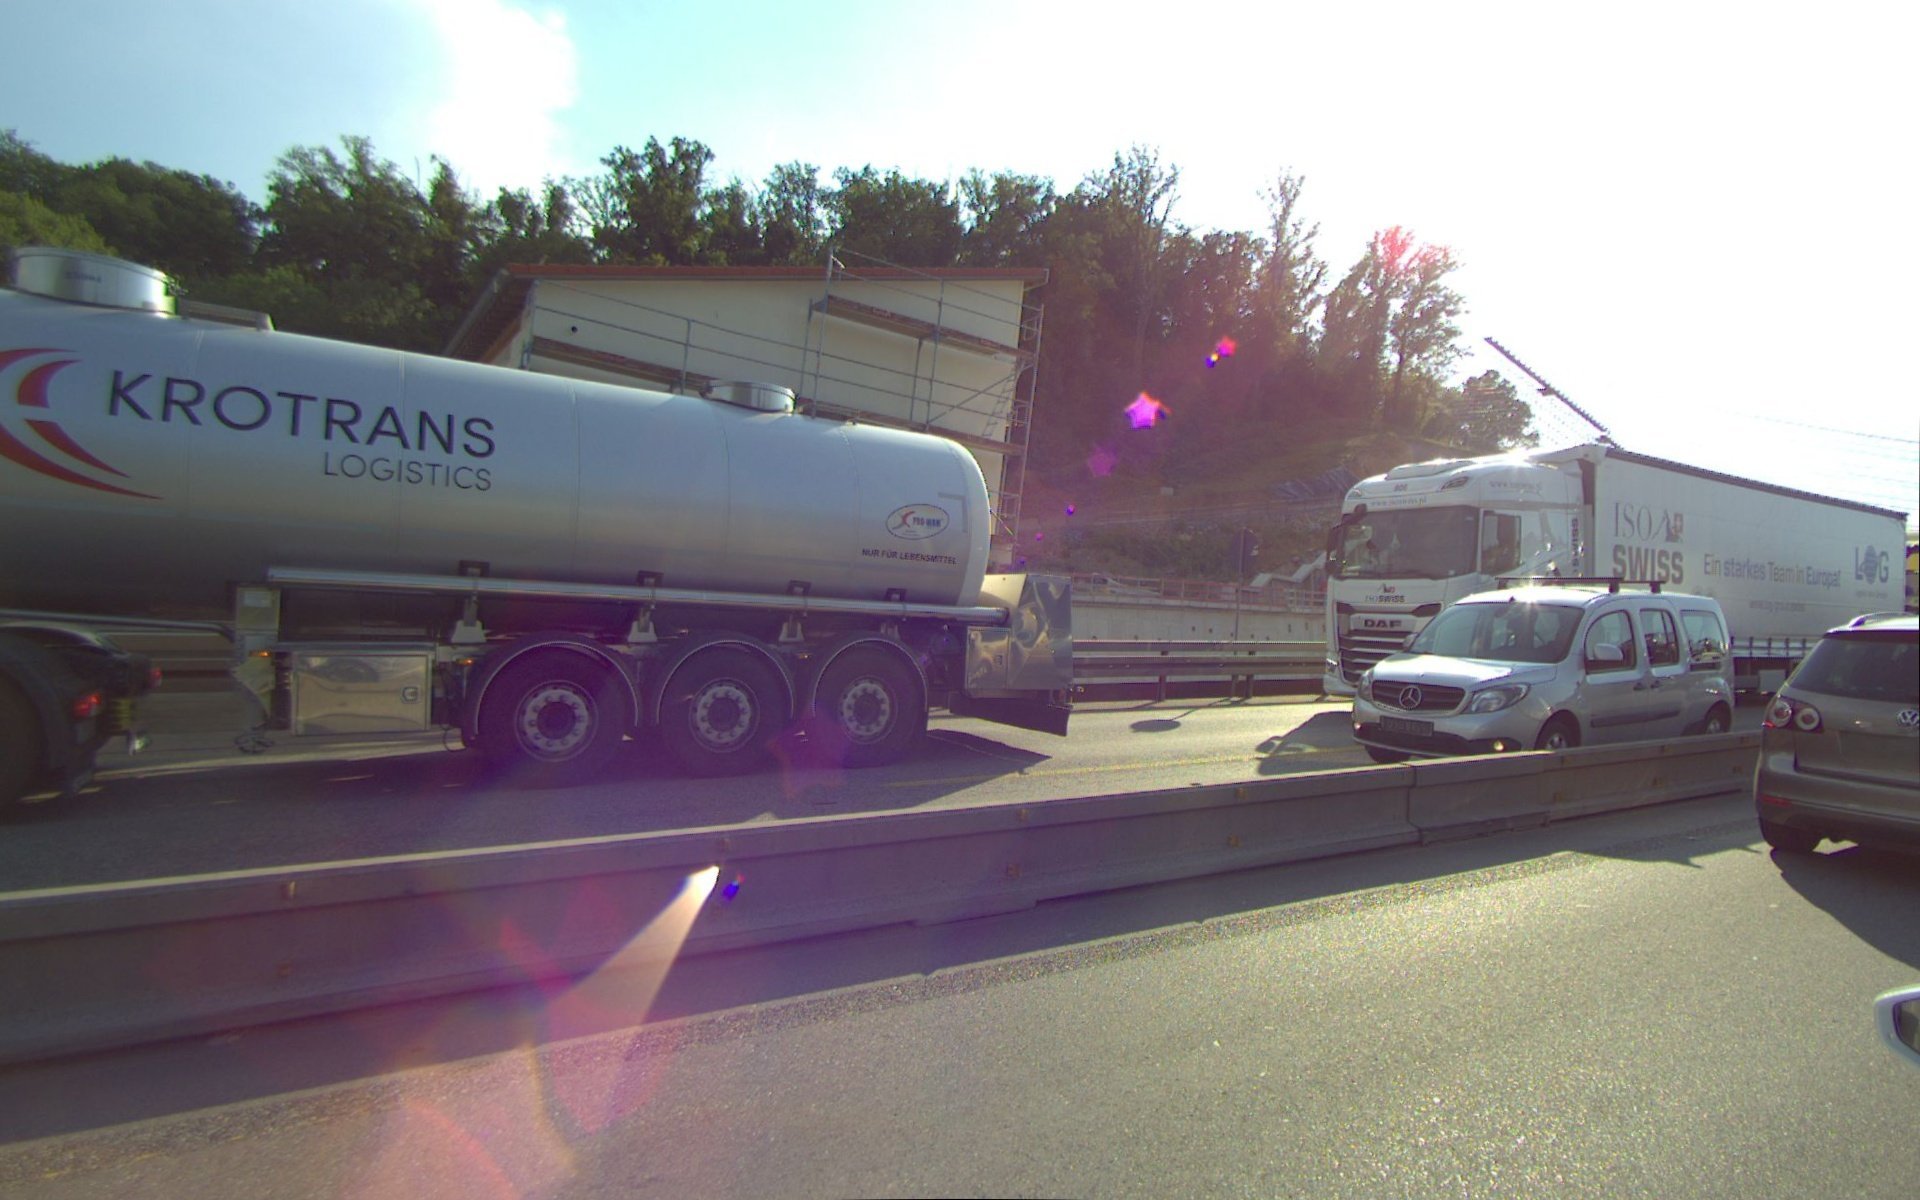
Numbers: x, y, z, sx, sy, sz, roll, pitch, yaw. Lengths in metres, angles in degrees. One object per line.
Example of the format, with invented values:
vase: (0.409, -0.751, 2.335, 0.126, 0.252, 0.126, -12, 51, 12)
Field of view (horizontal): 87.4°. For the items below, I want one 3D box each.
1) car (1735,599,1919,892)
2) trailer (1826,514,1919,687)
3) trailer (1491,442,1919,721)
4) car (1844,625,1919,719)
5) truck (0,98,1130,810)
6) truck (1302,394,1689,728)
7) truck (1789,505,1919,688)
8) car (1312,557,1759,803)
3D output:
car: (7.012, 0.900, 6.631, 4.102, 1.608, 1.691, 3, -2, -32)
trailer: (30.413, 0.349, 30.164, 14.229, 4.451, 2.876, 3, -2, -33)
trailer: (15.126, 0.006, 19.768, 12.010, 4.321, 2.440, 3, -2, -32)
car: (17.331, 1.243, 17.680, 3.805, 1.526, 1.661, 1, 0, -32)
truck: (-4.963, -0.794, 7.603, 13.733, 4.023, 2.795, 2, 0, -31)
truck: (8.473, -0.353, 15.674, 6.251, 4.327, 2.431, 3, -2, -31)
truck: (24.564, 0.055, 26.237, 5.711, 4.327, 2.877, 3, -2, -33)
car: (5.846, 0.678, 9.998, 4.811, 1.942, 1.823, 1, 0, -32)
